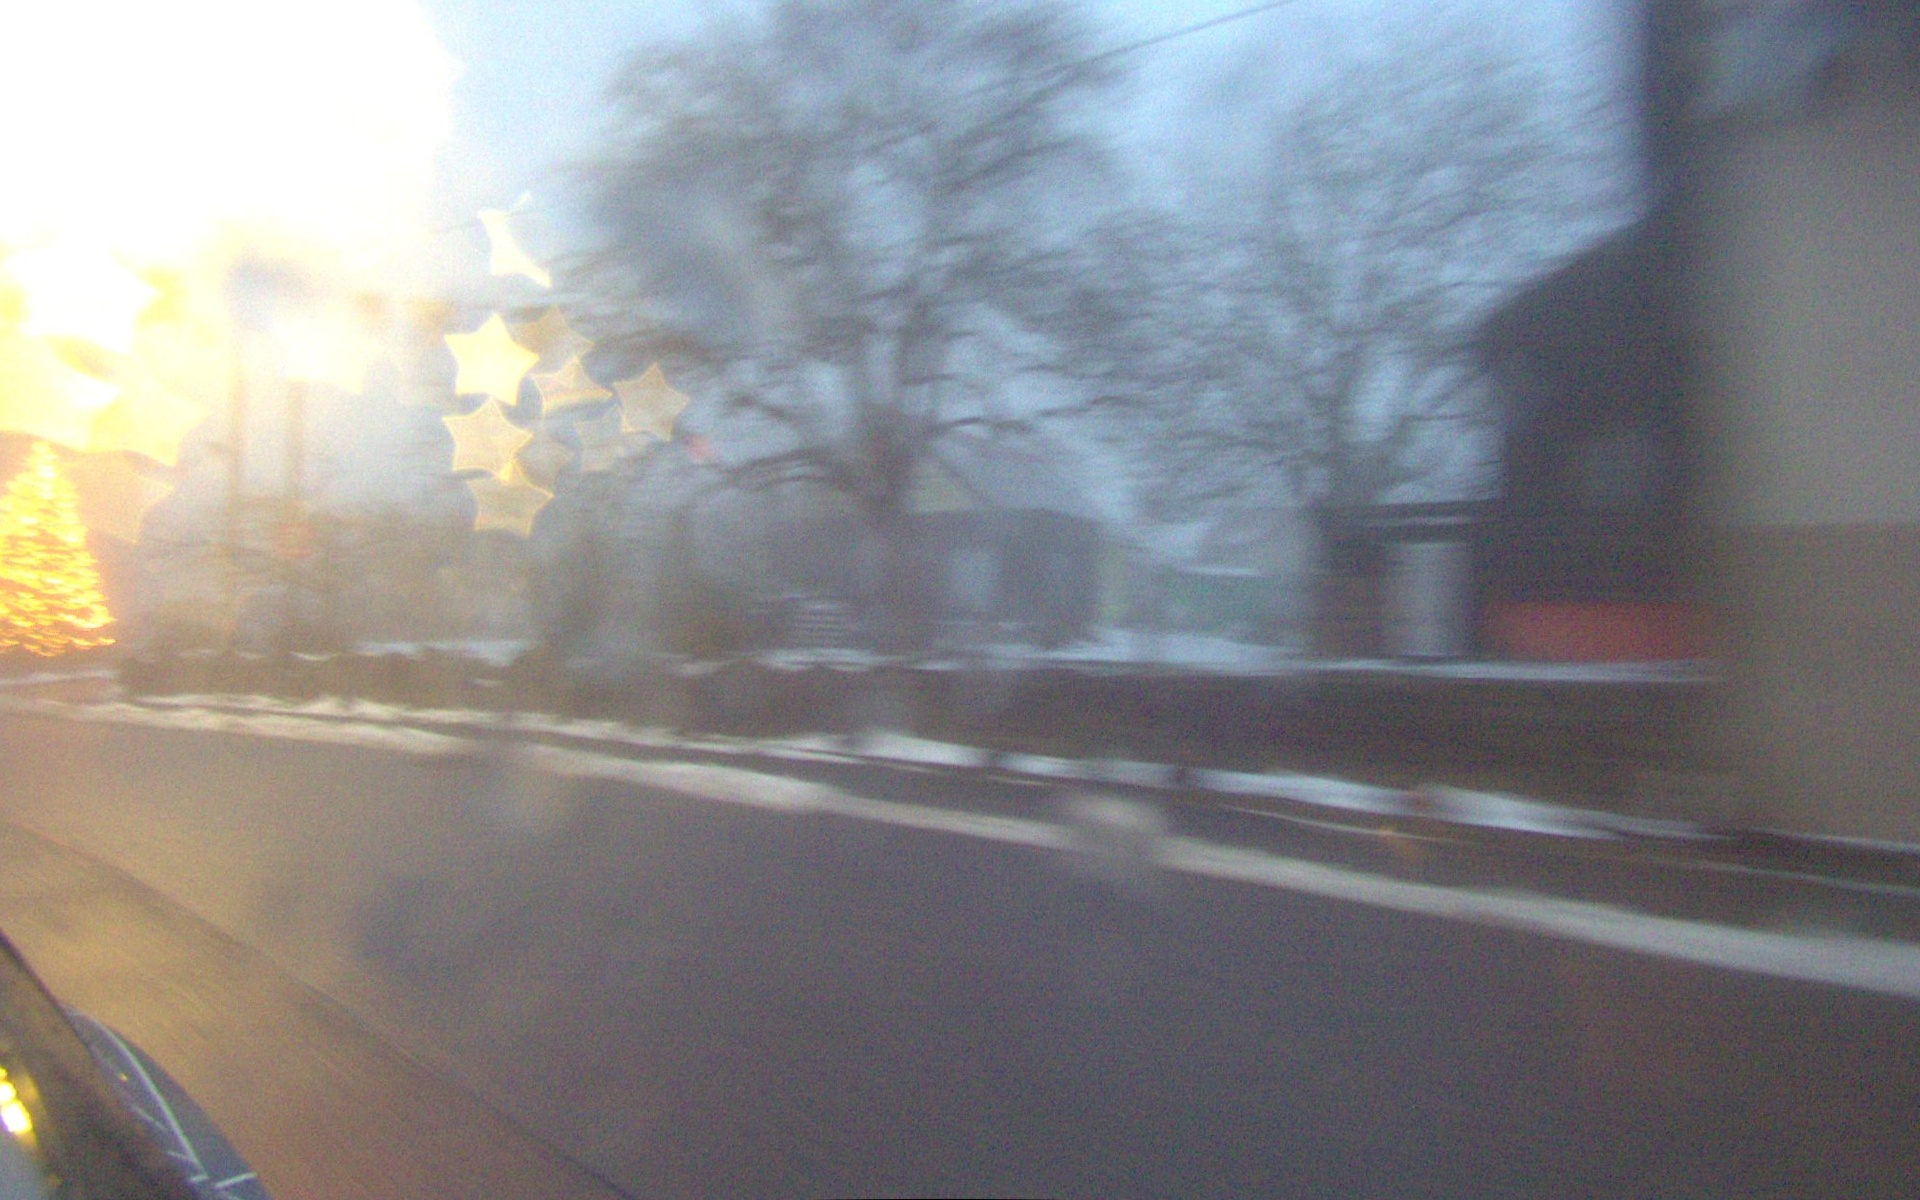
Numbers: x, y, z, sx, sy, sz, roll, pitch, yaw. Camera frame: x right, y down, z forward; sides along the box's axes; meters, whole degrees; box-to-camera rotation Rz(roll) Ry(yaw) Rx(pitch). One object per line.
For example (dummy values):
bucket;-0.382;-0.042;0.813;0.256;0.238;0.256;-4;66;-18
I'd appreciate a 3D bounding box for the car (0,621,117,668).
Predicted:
car;-29.133;1.356;31.792;1.616;1.383;3.758;0;-1;23
